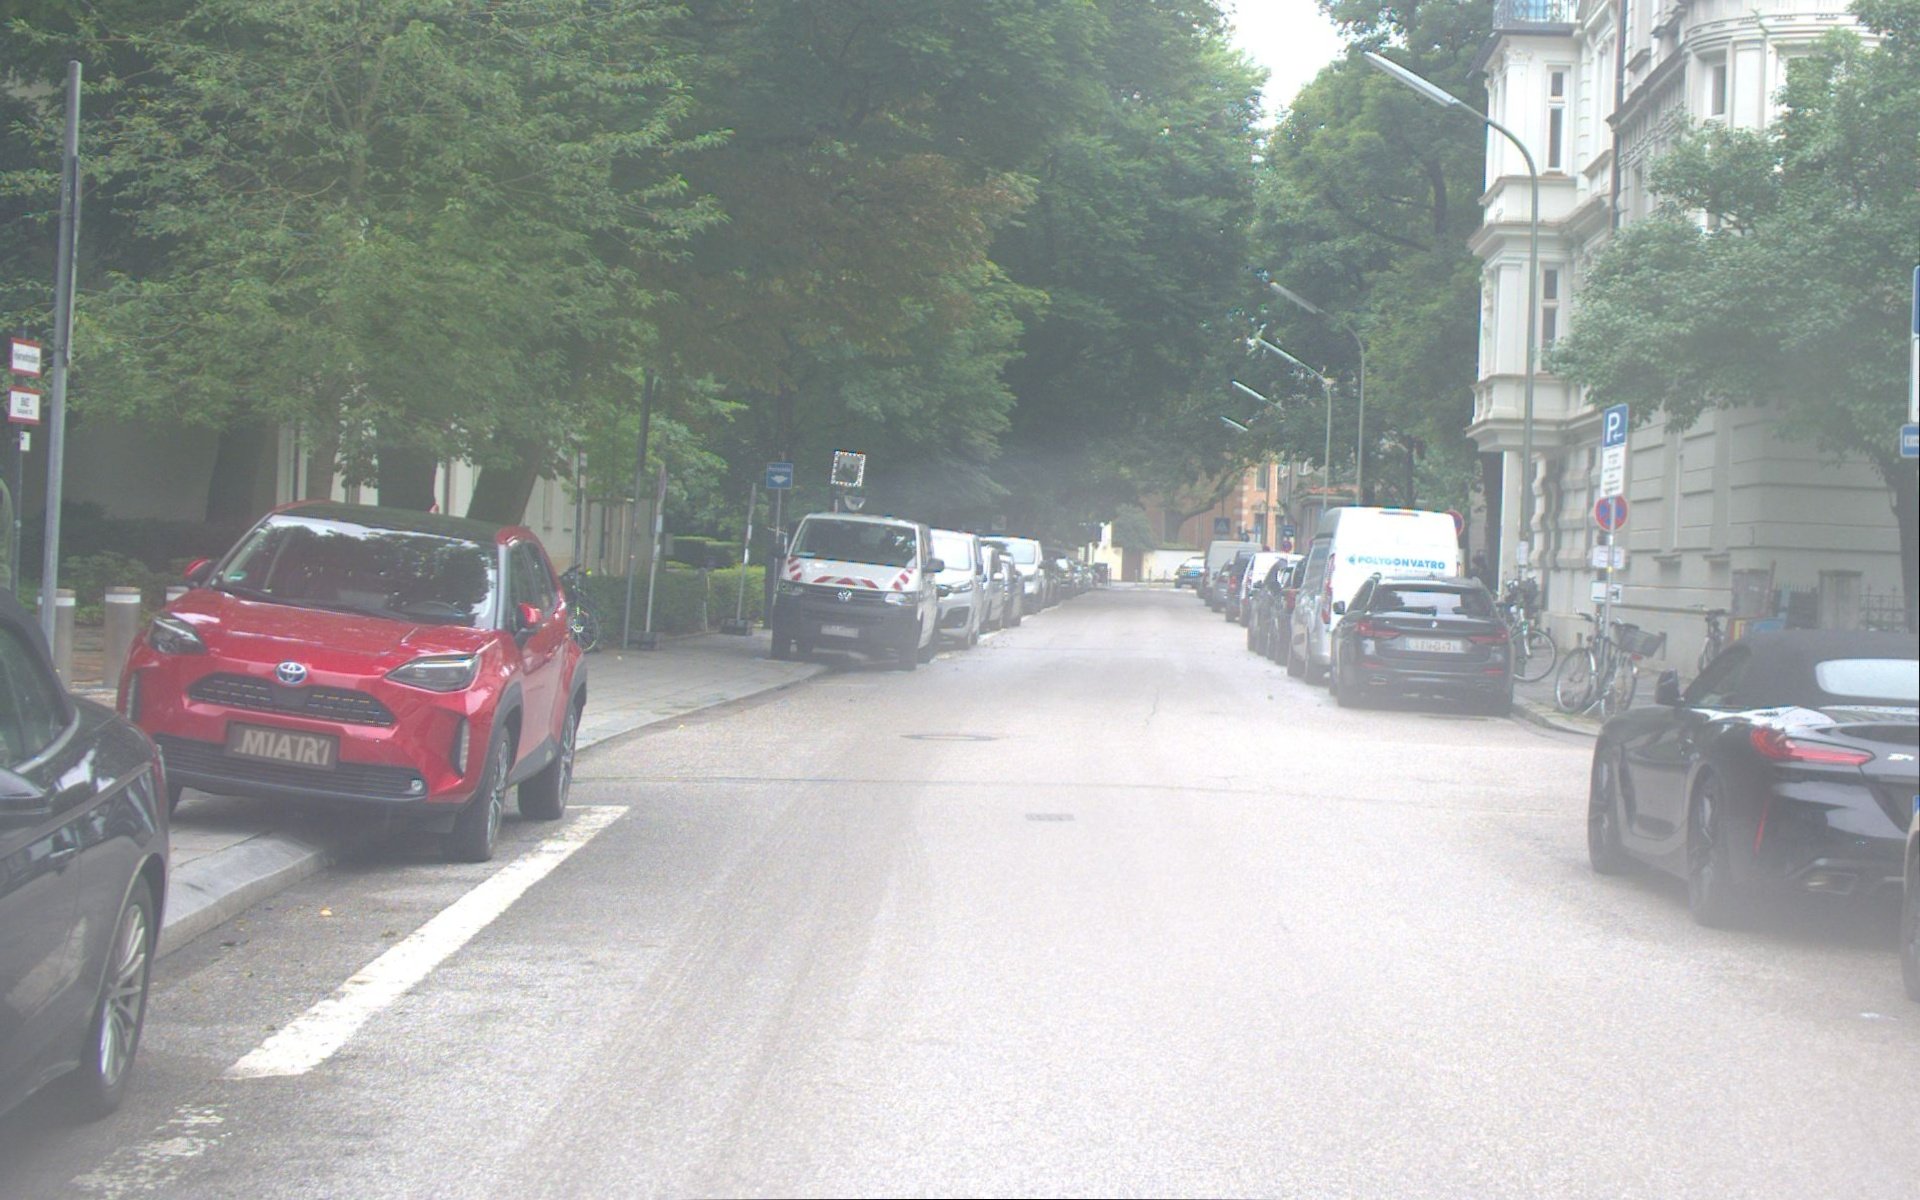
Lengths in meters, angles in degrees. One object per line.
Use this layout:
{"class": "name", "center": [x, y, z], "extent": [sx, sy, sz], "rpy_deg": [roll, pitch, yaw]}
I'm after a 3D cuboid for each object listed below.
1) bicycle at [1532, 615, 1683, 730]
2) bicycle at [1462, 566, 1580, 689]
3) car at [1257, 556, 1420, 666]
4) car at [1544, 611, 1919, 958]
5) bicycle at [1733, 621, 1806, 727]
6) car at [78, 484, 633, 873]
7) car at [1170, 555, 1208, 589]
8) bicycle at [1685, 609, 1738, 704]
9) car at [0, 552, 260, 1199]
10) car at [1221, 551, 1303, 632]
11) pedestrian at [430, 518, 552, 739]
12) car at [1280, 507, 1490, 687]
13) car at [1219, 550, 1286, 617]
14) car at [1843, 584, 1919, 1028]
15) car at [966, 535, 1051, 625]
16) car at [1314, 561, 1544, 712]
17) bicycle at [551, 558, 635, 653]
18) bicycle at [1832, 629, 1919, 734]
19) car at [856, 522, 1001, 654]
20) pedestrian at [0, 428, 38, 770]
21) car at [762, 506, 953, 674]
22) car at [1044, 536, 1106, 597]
{"class": "bicycle", "center": [6.512, 0.716, 34.697], "extent": [0.653, 1.024, 2.203], "rpy_deg": [1, 2, -13]}
{"class": "bicycle", "center": [7.258, 0.339, 44.592], "extent": [0.707, 1.510, 2.039], "rpy_deg": [2, 1, -14]}
{"class": "car", "center": [5.899, 0.160, 54.015], "extent": [2.138, 1.624, 4.315], "rpy_deg": [1, 0, 1]}
{"class": "car", "center": [4.124, 0.751, 16.120], "extent": [2.000, 1.314, 4.595], "rpy_deg": [0, 1, 0]}
{"class": "bicycle", "center": [8.660, 0.775, 36.823], "extent": [0.430, 1.024, 1.890], "rpy_deg": [2, 2, 4]}
{"class": "car", "center": [-2.857, 0.316, 17.276], "extent": [1.887, 1.585, 4.528], "rpy_deg": [4, 1, 0]}
{"class": "car", "center": [12.615, -1.552, 189.003], "extent": [1.994, 1.777, 3.999], "rpy_deg": [2, 1, 5]}
{"class": "bicycle", "center": [8.820, 0.648, 40.372], "extent": [0.546, 1.056, 1.750], "rpy_deg": [2, 1, 12]}
{"class": "car", "center": [-2.885, 0.586, 7.542], "extent": [1.807, 1.397, 4.925], "rpy_deg": [4, 1, -2]}
{"class": "car", "center": [7.734, -0.242, 88.170], "extent": [1.994, 1.969, 3.999], "rpy_deg": [2, 1, 5]}
{"class": "pedestrian", "center": [-3.417, 0.199, 25.108], "extent": [0.713, 1.543, 0.753], "rpy_deg": [4, 1, -3]}
{"class": "car", "center": [5.510, -0.051, 45.178], "extent": [2.204, 2.201, 4.855], "rpy_deg": [1, 0, 1]}
{"class": "car", "center": [9.137, -0.525, 107.306], "extent": [1.994, 2.007, 3.999], "rpy_deg": [2, 1, 5]}
{"class": "car", "center": [4.263, 0.828, 11.240], "extent": [1.771, 1.541, 3.711], "rpy_deg": [7, 1, 2]}
{"class": "car", "center": [1.287, -0.530, 90.055], "extent": [2.002, 2.179, 4.696], "rpy_deg": [4, 1, 2]}
{"class": "car", "center": [5.139, 0.370, 38.227], "extent": [2.273, 1.541, 4.586], "rpy_deg": [1, 0, 5]}
{"class": "bicycle", "center": [-4.458, 0.064, 41.852], "extent": [0.633, 1.099, 1.767], "rpy_deg": [4, 0, 5]}
{"class": "bicycle", "center": [10.033, 0.860, 35.431], "extent": [1.923, 1.024, 0.557], "rpy_deg": [2, 2, 6]}
{"class": "car", "center": [-0.502, -0.223, 57.100], "extent": [2.183, 1.950, 5.167], "rpy_deg": [4, 1, 0]}
{"class": "pedestrian", "center": [-5.521, -0.020, 18.637], "extent": [0.712, 1.846, 0.797], "rpy_deg": [4, 0, 1]}
{"class": "car", "center": [-1.279, -0.162, 45.404], "extent": [2.247, 1.950, 5.454], "rpy_deg": [4, 1, 0]}
{"class": "car", "center": [4.315, -1.277, 129.771], "extent": [2.047, 2.147, 4.314], "rpy_deg": [4, 1, 0]}
